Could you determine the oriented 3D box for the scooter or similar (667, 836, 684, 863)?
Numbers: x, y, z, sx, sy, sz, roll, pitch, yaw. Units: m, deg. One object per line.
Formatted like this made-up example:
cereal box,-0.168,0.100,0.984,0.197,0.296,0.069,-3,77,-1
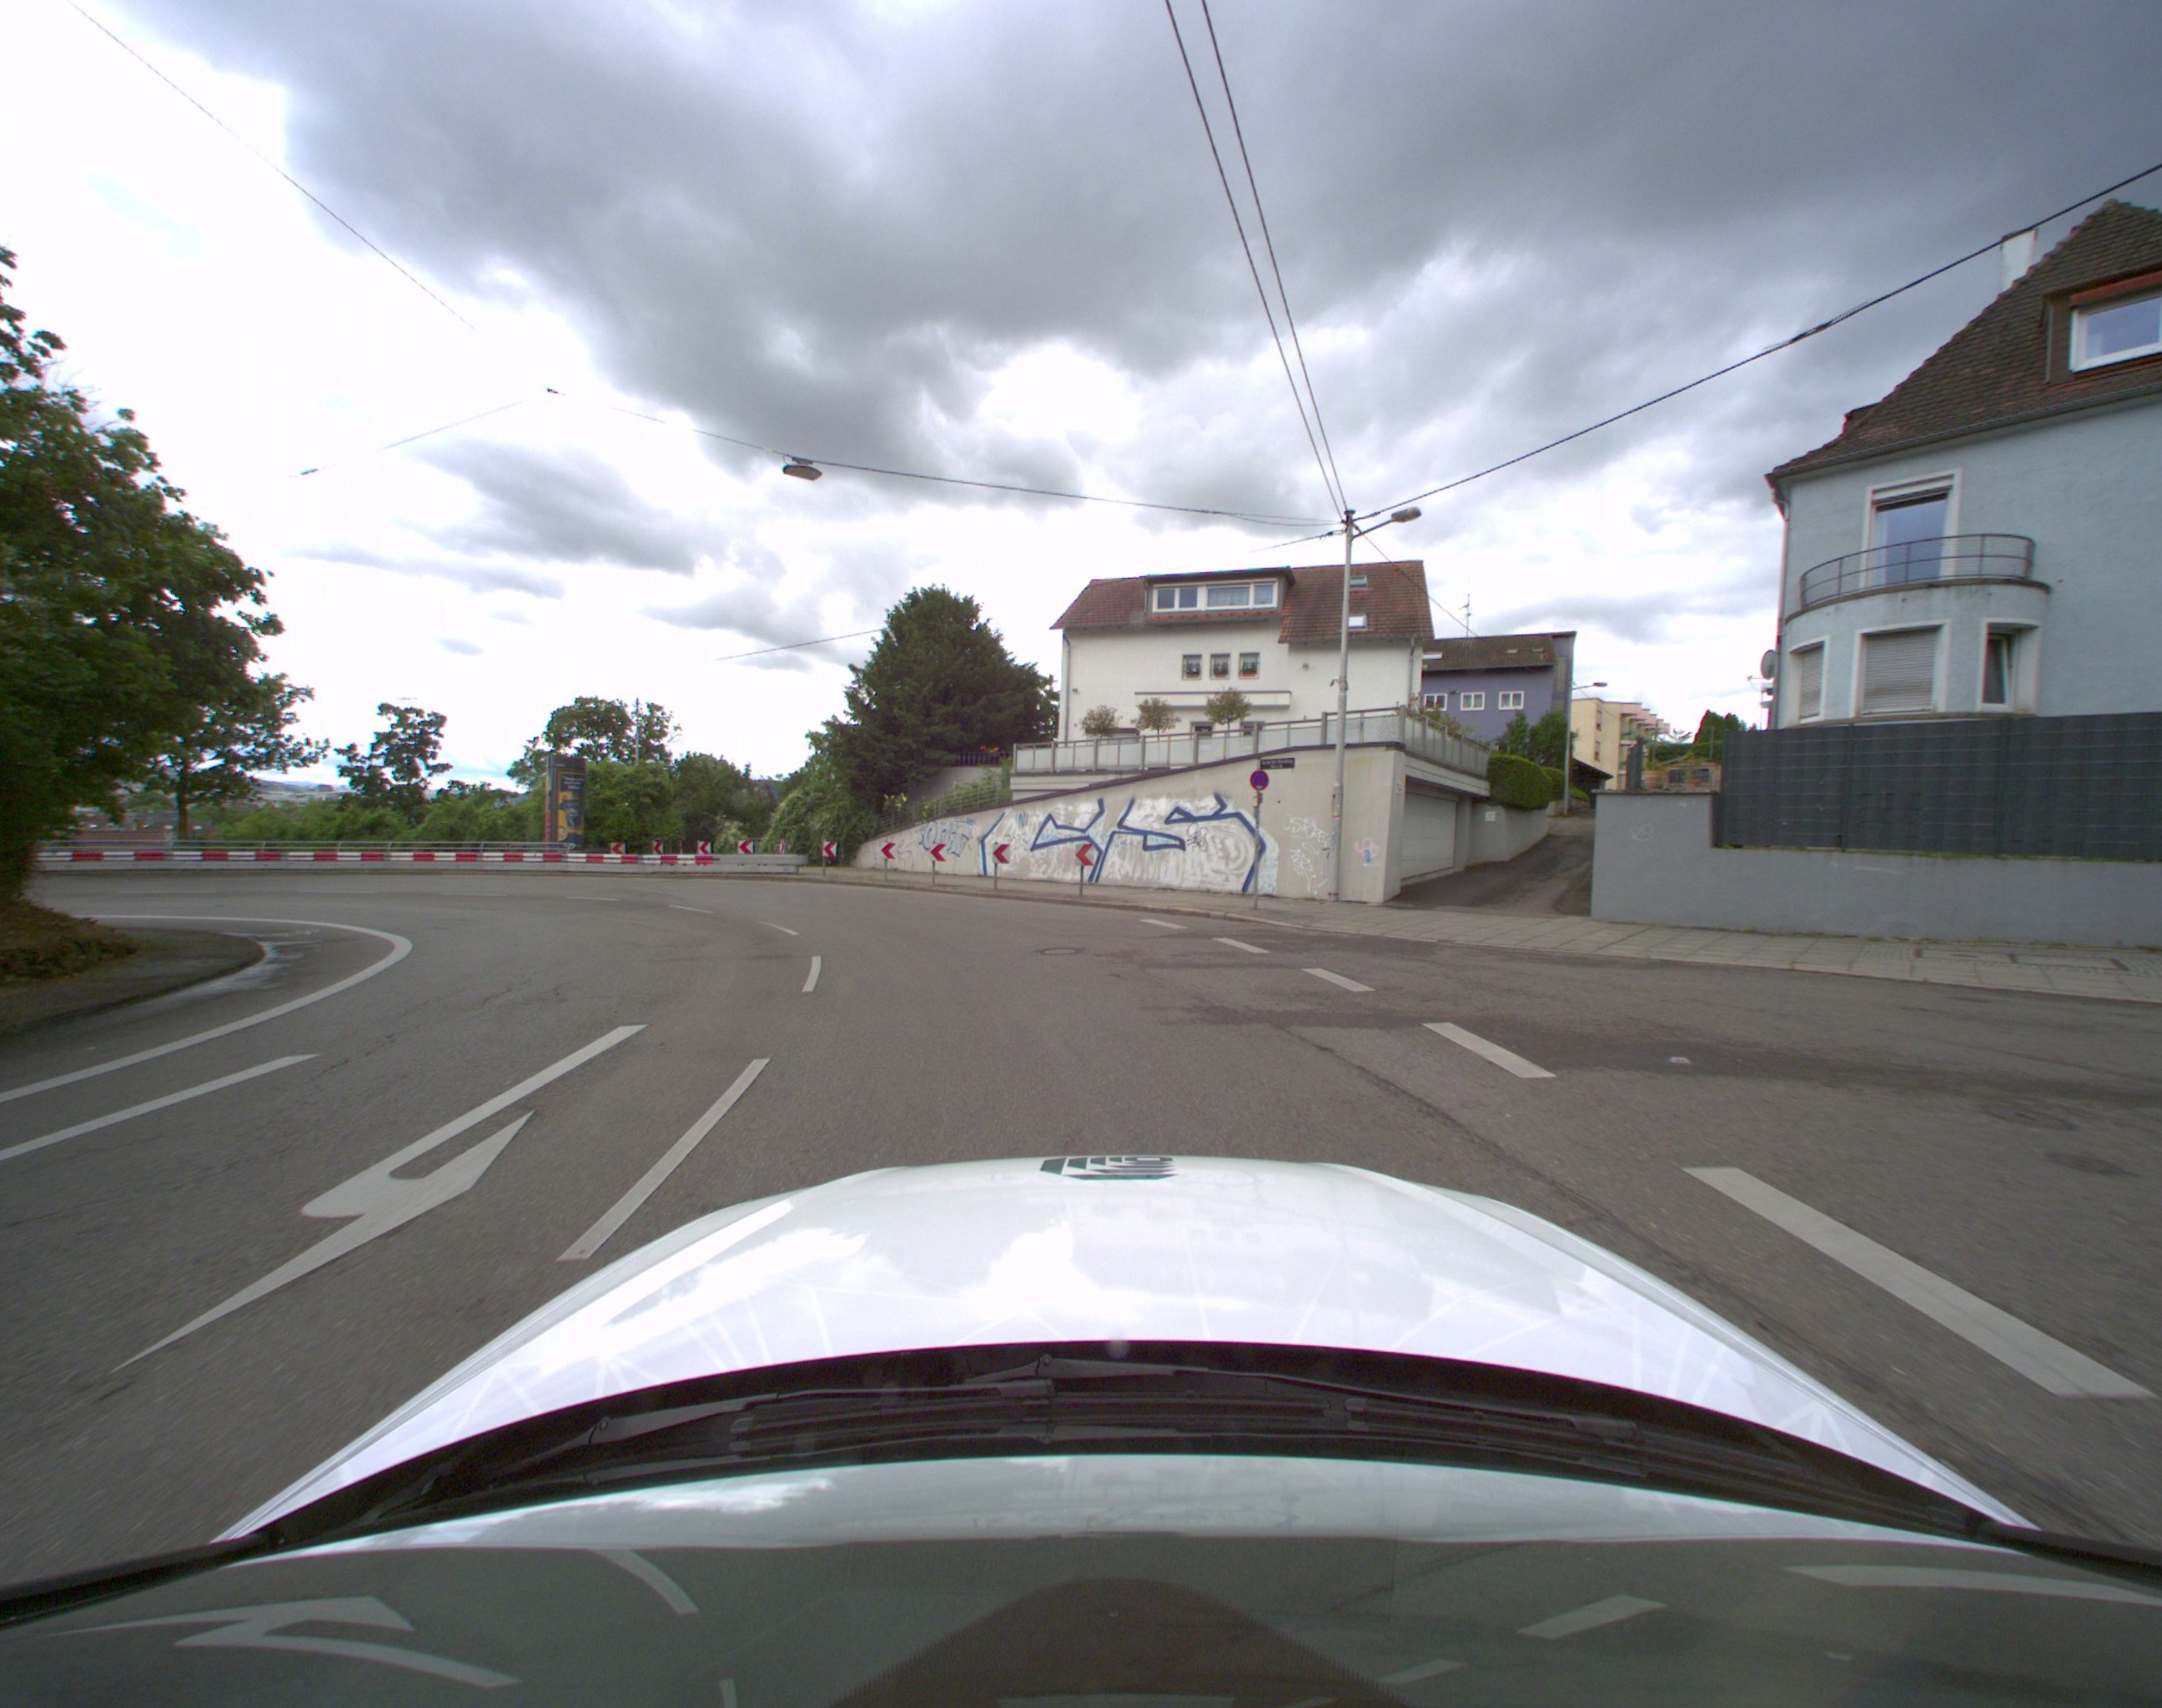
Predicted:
scooter or similar,-19.970,-0.234,40.142,0.436,1.250,1.494,0,2,-15
